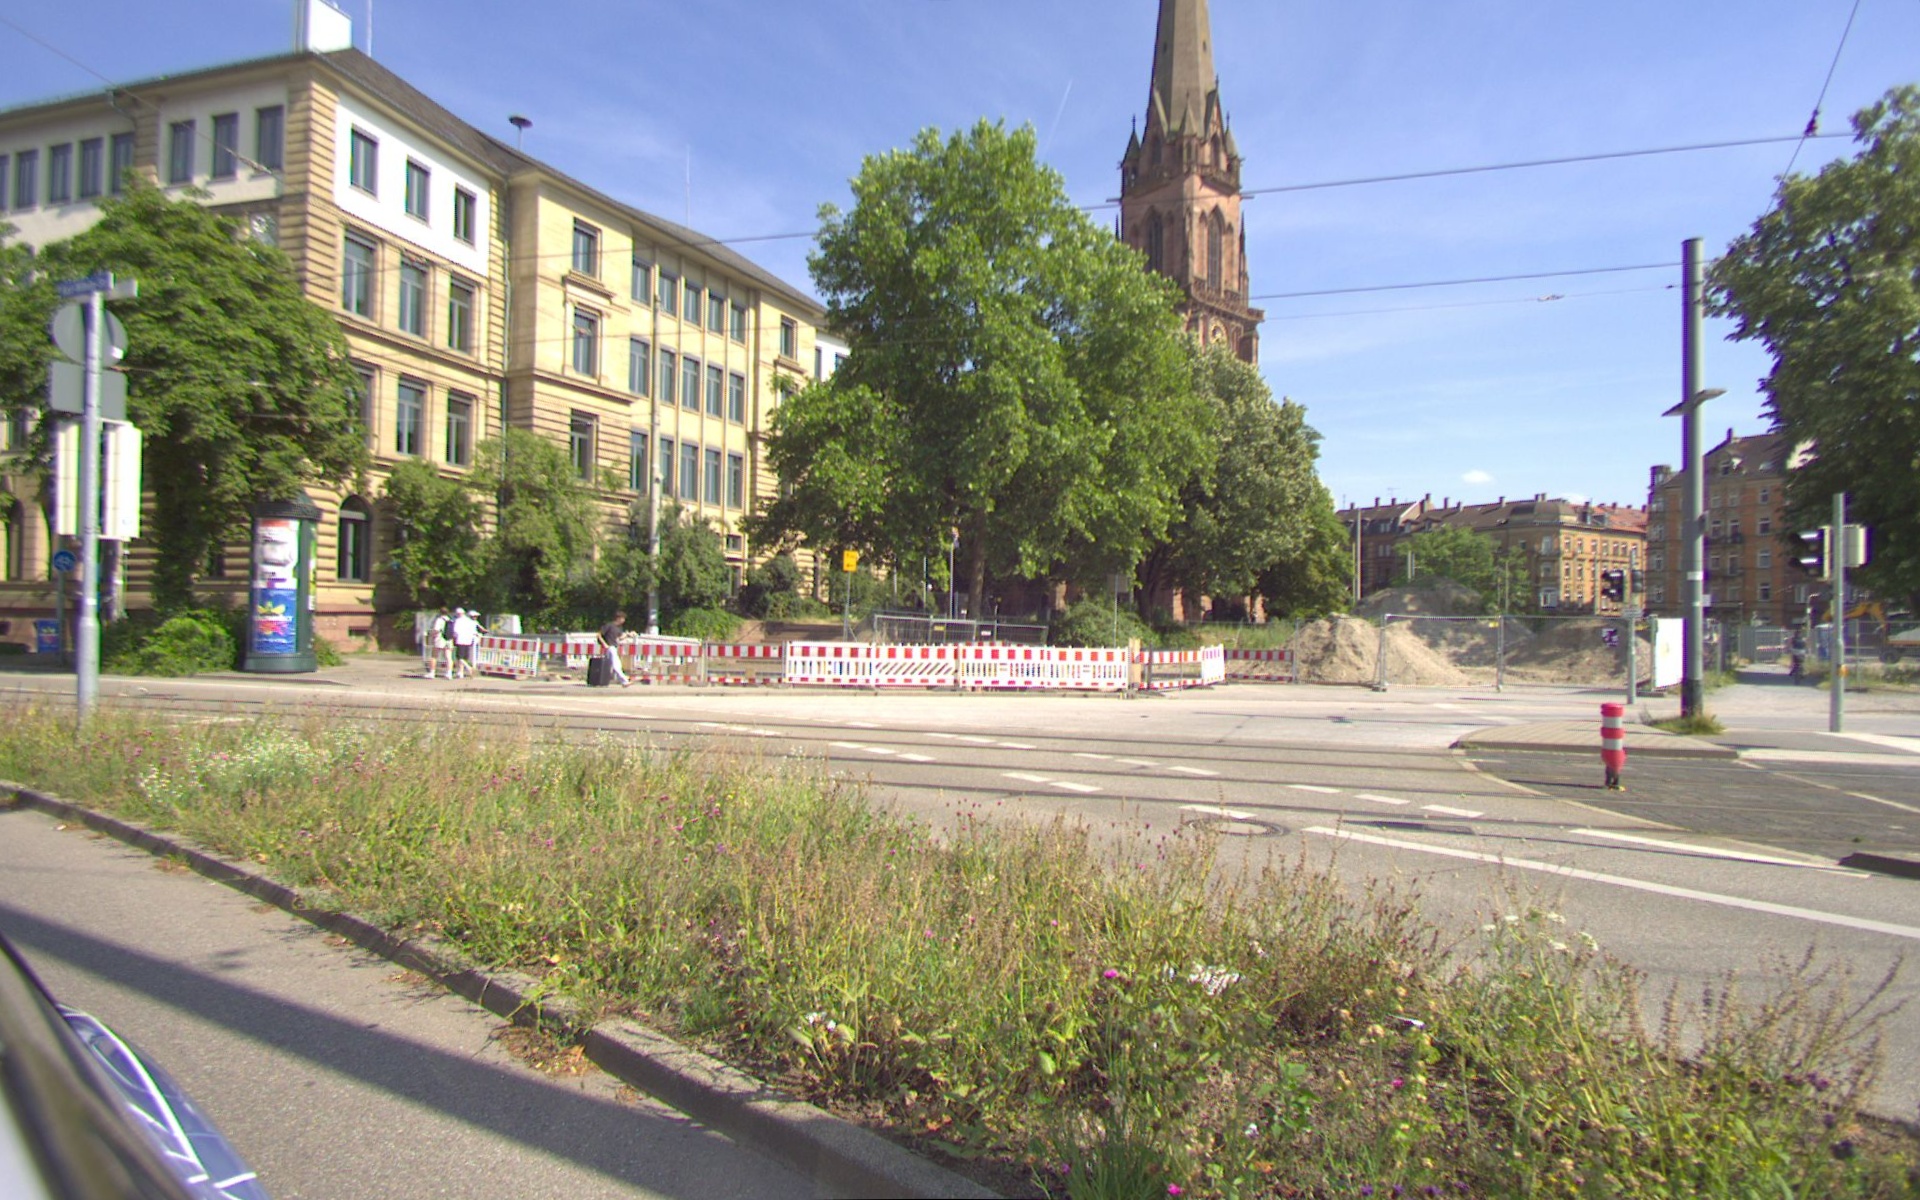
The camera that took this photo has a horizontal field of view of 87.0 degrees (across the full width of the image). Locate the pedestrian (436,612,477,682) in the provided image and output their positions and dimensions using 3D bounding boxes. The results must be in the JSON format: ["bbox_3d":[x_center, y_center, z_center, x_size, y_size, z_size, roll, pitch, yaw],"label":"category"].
[{"bbox_3d":[-12.988,1.204,26.119,0.733,1.763,0.585,1,-2,-7],"label":"pedestrian"}]

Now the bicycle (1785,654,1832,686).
[{"bbox_3d":[26.836,2.215,32.053,0.759,0.930,2.049,0,-2,29],"label":"bicycle"}]

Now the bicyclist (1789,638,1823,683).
[{"bbox_3d":[26.984,1.915,32.291,0.617,1.370,1.161,0,-2,29],"label":"bicyclist"}]

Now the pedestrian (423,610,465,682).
[{"bbox_3d":[-12.978,1.152,25.453,0.733,1.763,0.585,1,-2,-6],"label":"pedestrian"}]

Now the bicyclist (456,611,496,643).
[{"bbox_3d":[-14.704,0.818,30.750,0.860,0.934,0.680,0,-2,12],"label":"bicyclist"}]

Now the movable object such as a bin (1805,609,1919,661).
[{"bbox_3d":[55.365,2.109,61.028,2.545,3.032,6.558,2,-2,-44],"label":"movable object such as a bin"}]

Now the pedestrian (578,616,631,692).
[{"bbox_3d":[-8.034,1.198,22.862,0.924,1.668,0.847,2,-2,-31],"label":"pedestrian"}]
